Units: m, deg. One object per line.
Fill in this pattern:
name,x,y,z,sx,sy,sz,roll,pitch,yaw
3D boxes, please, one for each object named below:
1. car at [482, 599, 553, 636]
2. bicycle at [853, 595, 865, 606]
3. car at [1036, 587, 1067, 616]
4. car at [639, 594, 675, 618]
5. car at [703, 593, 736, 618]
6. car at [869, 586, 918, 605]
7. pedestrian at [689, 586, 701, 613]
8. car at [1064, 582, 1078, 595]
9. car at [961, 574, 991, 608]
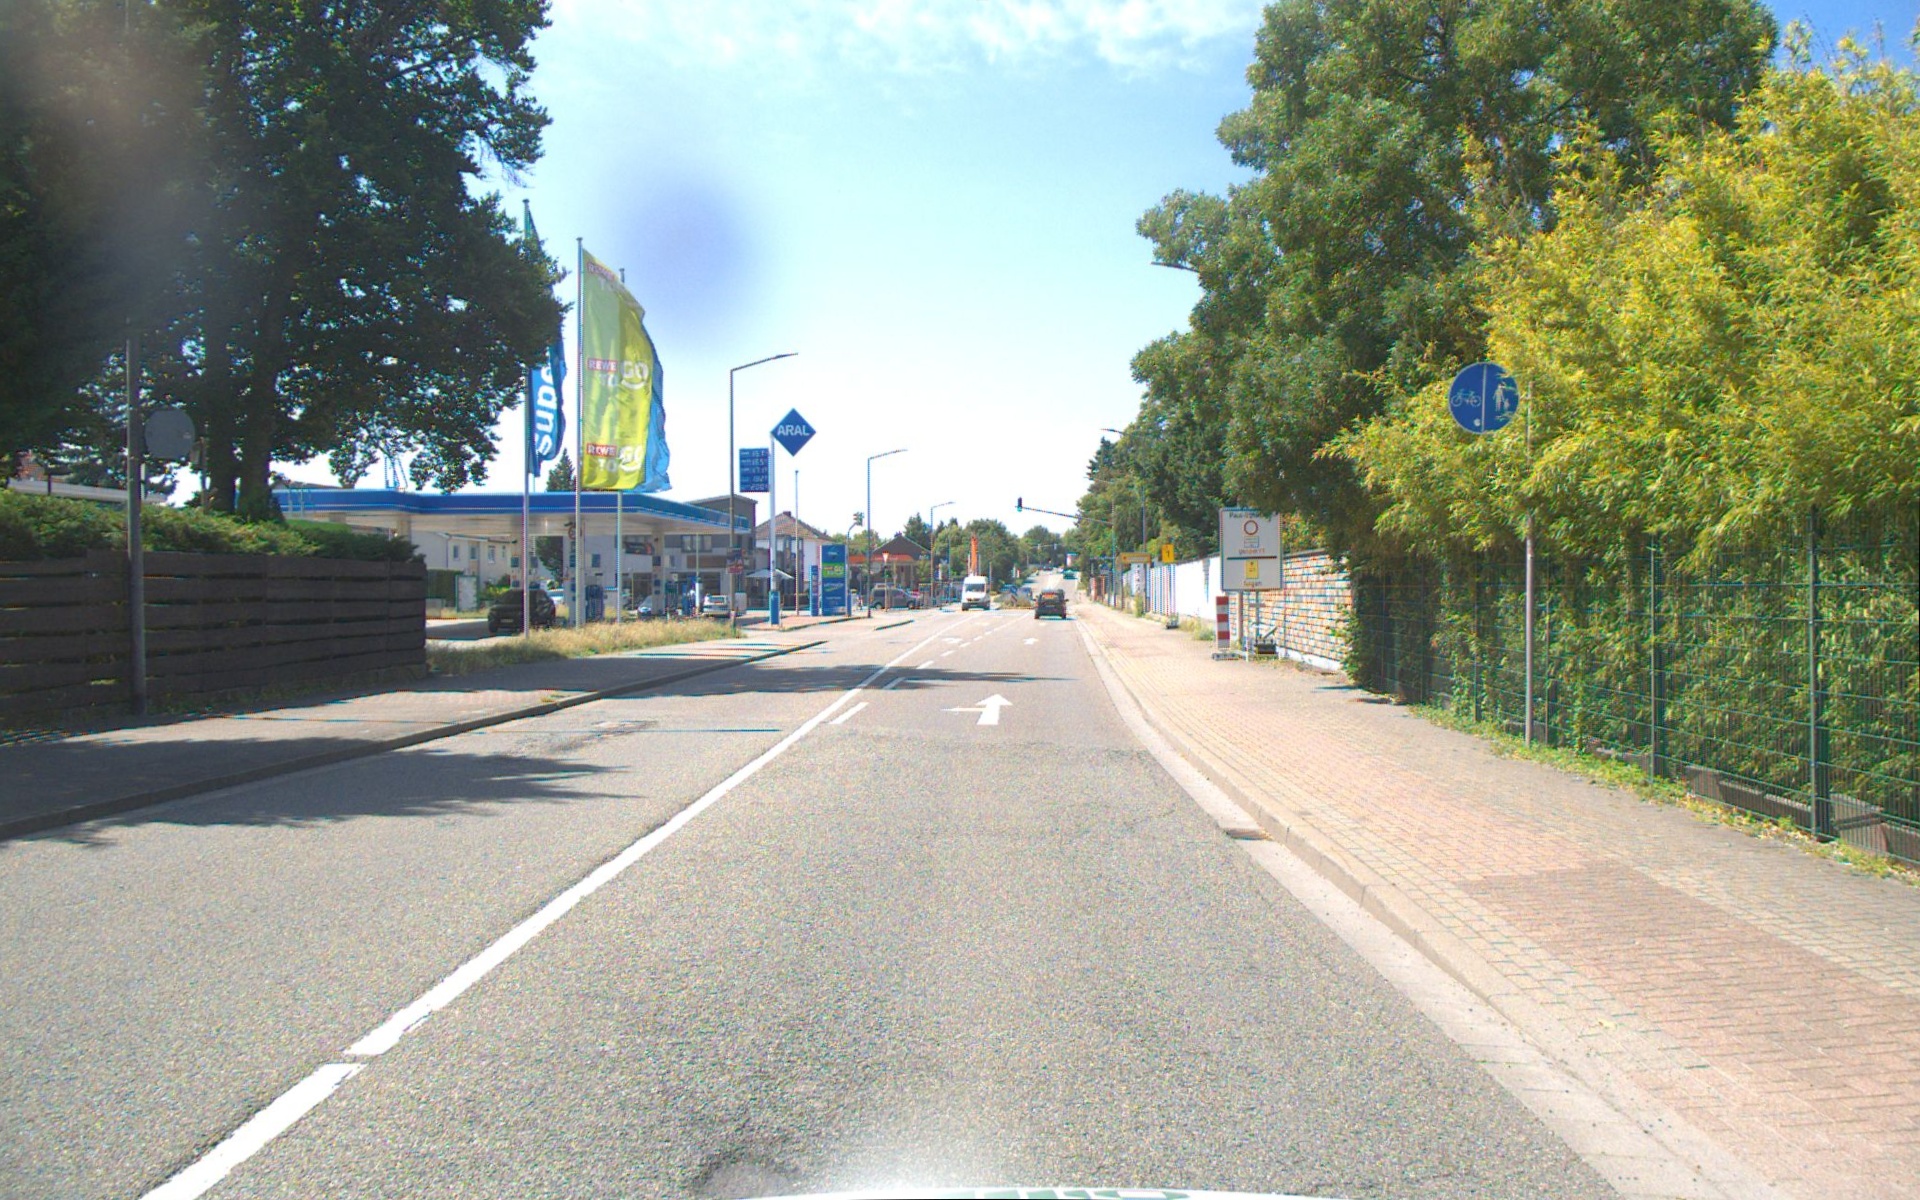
car,-18.064,0.691,67.723,1.635,1.406,4.002,0,1,3
bicycle,-7.684,0.053,125.519,0.600,0.807,2.576,0,1,3
car,4.851,0.047,87.635,1.630,1.481,3.474,0,1,3
car,-19.000,0.368,103.920,1.584,1.445,3.711,-2,1,-1
car,-15.084,0.339,103.870,1.584,1.445,3.711,-2,1,-1
car,-5.388,-0.352,133.936,3.905,1.534,1.555,0,0,0
pedestrian,-16.781,-0.034,104.824,0.602,1.720,0.704,0,0,-23
car,13.248,-1.355,198.343,1.630,1.481,3.474,0,1,3
car,1.294,-0.665,130.133,1.952,2.465,5.950,1,-1,4
